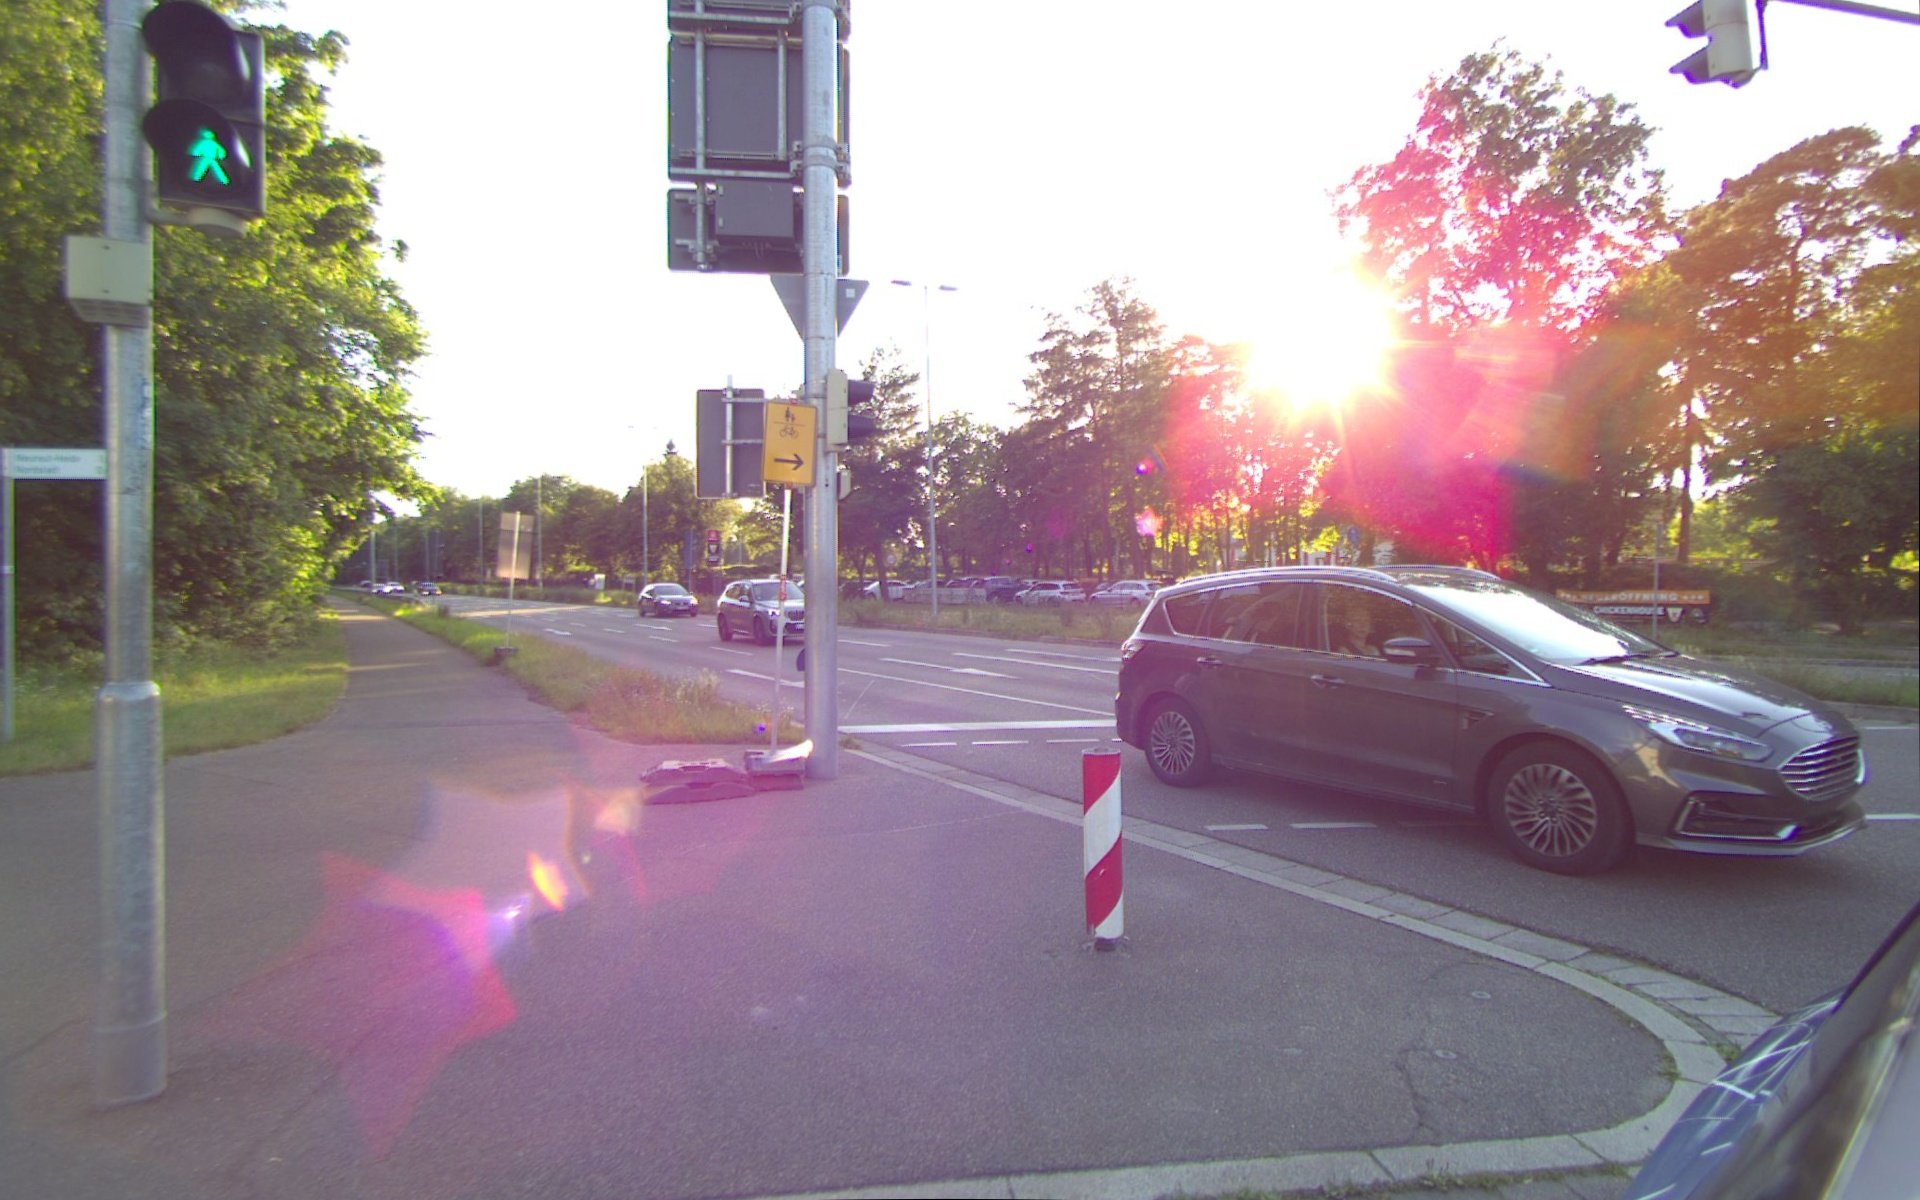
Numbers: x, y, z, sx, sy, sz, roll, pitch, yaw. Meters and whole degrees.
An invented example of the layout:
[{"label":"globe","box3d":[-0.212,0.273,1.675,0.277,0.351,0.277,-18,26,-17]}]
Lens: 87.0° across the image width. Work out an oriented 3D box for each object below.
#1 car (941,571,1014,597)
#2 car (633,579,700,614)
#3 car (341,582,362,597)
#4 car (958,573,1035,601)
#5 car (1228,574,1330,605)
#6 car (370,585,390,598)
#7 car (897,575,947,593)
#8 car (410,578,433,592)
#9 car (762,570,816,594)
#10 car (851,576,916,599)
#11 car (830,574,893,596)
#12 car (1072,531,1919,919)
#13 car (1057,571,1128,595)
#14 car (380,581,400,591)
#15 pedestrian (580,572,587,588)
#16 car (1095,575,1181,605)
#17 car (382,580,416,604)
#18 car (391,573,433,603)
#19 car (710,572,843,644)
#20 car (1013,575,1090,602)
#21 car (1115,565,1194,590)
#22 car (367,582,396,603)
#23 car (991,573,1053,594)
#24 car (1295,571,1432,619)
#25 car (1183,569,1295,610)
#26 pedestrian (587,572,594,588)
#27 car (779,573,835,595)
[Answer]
[{"label":"car","box3d":[1.046,-0.973,60.593,3.923,1.471,2.001,-1,1,-34]},{"label":"car","box3d":[-12.954,-0.201,44.499,1.836,1.422,4.079,-3,2,-31]},{"label":"car","box3d":[-69.524,-1.255,115.721,1.961,1.644,4.401,-2,2,-31]},{"label":"car","box3d":[2.069,-0.750,57.117,3.969,1.497,1.764,-1,1,-30]},{"label":"car","box3d":[15.477,-0.529,49.312,1.830,1.424,4.548,-1,1,-35]},{"label":"car","box3d":[-66.100,-1.006,115.311,1.836,1.422,4.079,-3,2,-31]},{"label":"car","box3d":[-3.051,-1.290,80.262,1.830,1.424,4.548,-1,1,-35]},{"label":"car","box3d":[-60.075,-1.653,112.868,1.836,1.422,4.078,-3,2,-32]},{"label":"car","box3d":[-13.704,-1.484,81.234,3.921,1.888,1.827,-1,1,-31]},{"label":"car","box3d":[-5.195,-0.881,69.087,4.091,1.497,1.784,-1,1,-34]},{"label":"car","box3d":[-6.957,-1.103,71.418,4.091,1.497,1.784,-1,1,-34]},{"label":"car","box3d":[3.069,0.494,6.962,1.973,1.682,4.824,-2,1,-32]},{"label":"car","box3d":[8.280,-1.077,63.525,1.830,1.424,4.548,-1,1,-35]},{"label":"car","box3d":[-77.831,-1.900,138.135,1.715,1.304,3.740,-1,2,-40]},{"label":"pedestrian","box3d":[-42.084,-2.186,113.036,0.556,1.767,0.677,-2,1,-30]},{"label":"car","box3d":[8.580,-0.510,49.004,1.830,1.349,4.000,-1,1,-35]},{"label":"car","box3d":[-40.989,-0.581,73.935,1.961,1.644,4.401,-2,2,-31]},{"label":"car","box3d":[-32.480,-0.712,59.940,1.961,1.644,4.401,-2,2,-31]},{"label":"car","box3d":[-4.892,0.140,26.450,1.961,1.644,4.401,-2,2,-31]},{"label":"car","box3d":[4.855,-0.641,54.434,1.648,1.341,4.499,-1,1,-35]},{"label":"car","box3d":[11.268,-1.312,58.779,1.830,1.424,4.548,-1,1,-35]},{"label":"car","box3d":[-47.653,-0.634,83.316,1.961,1.644,4.401,-2,2,-31]},{"label":"car","box3d":[4.186,-1.149,69.474,1.830,1.424,4.548,-1,1,-35]},{"label":"car","box3d":[15.309,-0.253,38.558,1.835,1.679,4.536,-1,2,-45]},{"label":"car","box3d":[12.009,-0.477,43.797,1.830,1.679,4.548,-1,1,-35]},{"label":"pedestrian","box3d":[-41.415,-2.234,113.451,0.556,1.796,0.677,-2,1,-30]},{"label":"car","box3d":[-11.898,-1.237,78.711,3.921,1.657,1.827,-1,1,-31]}]
